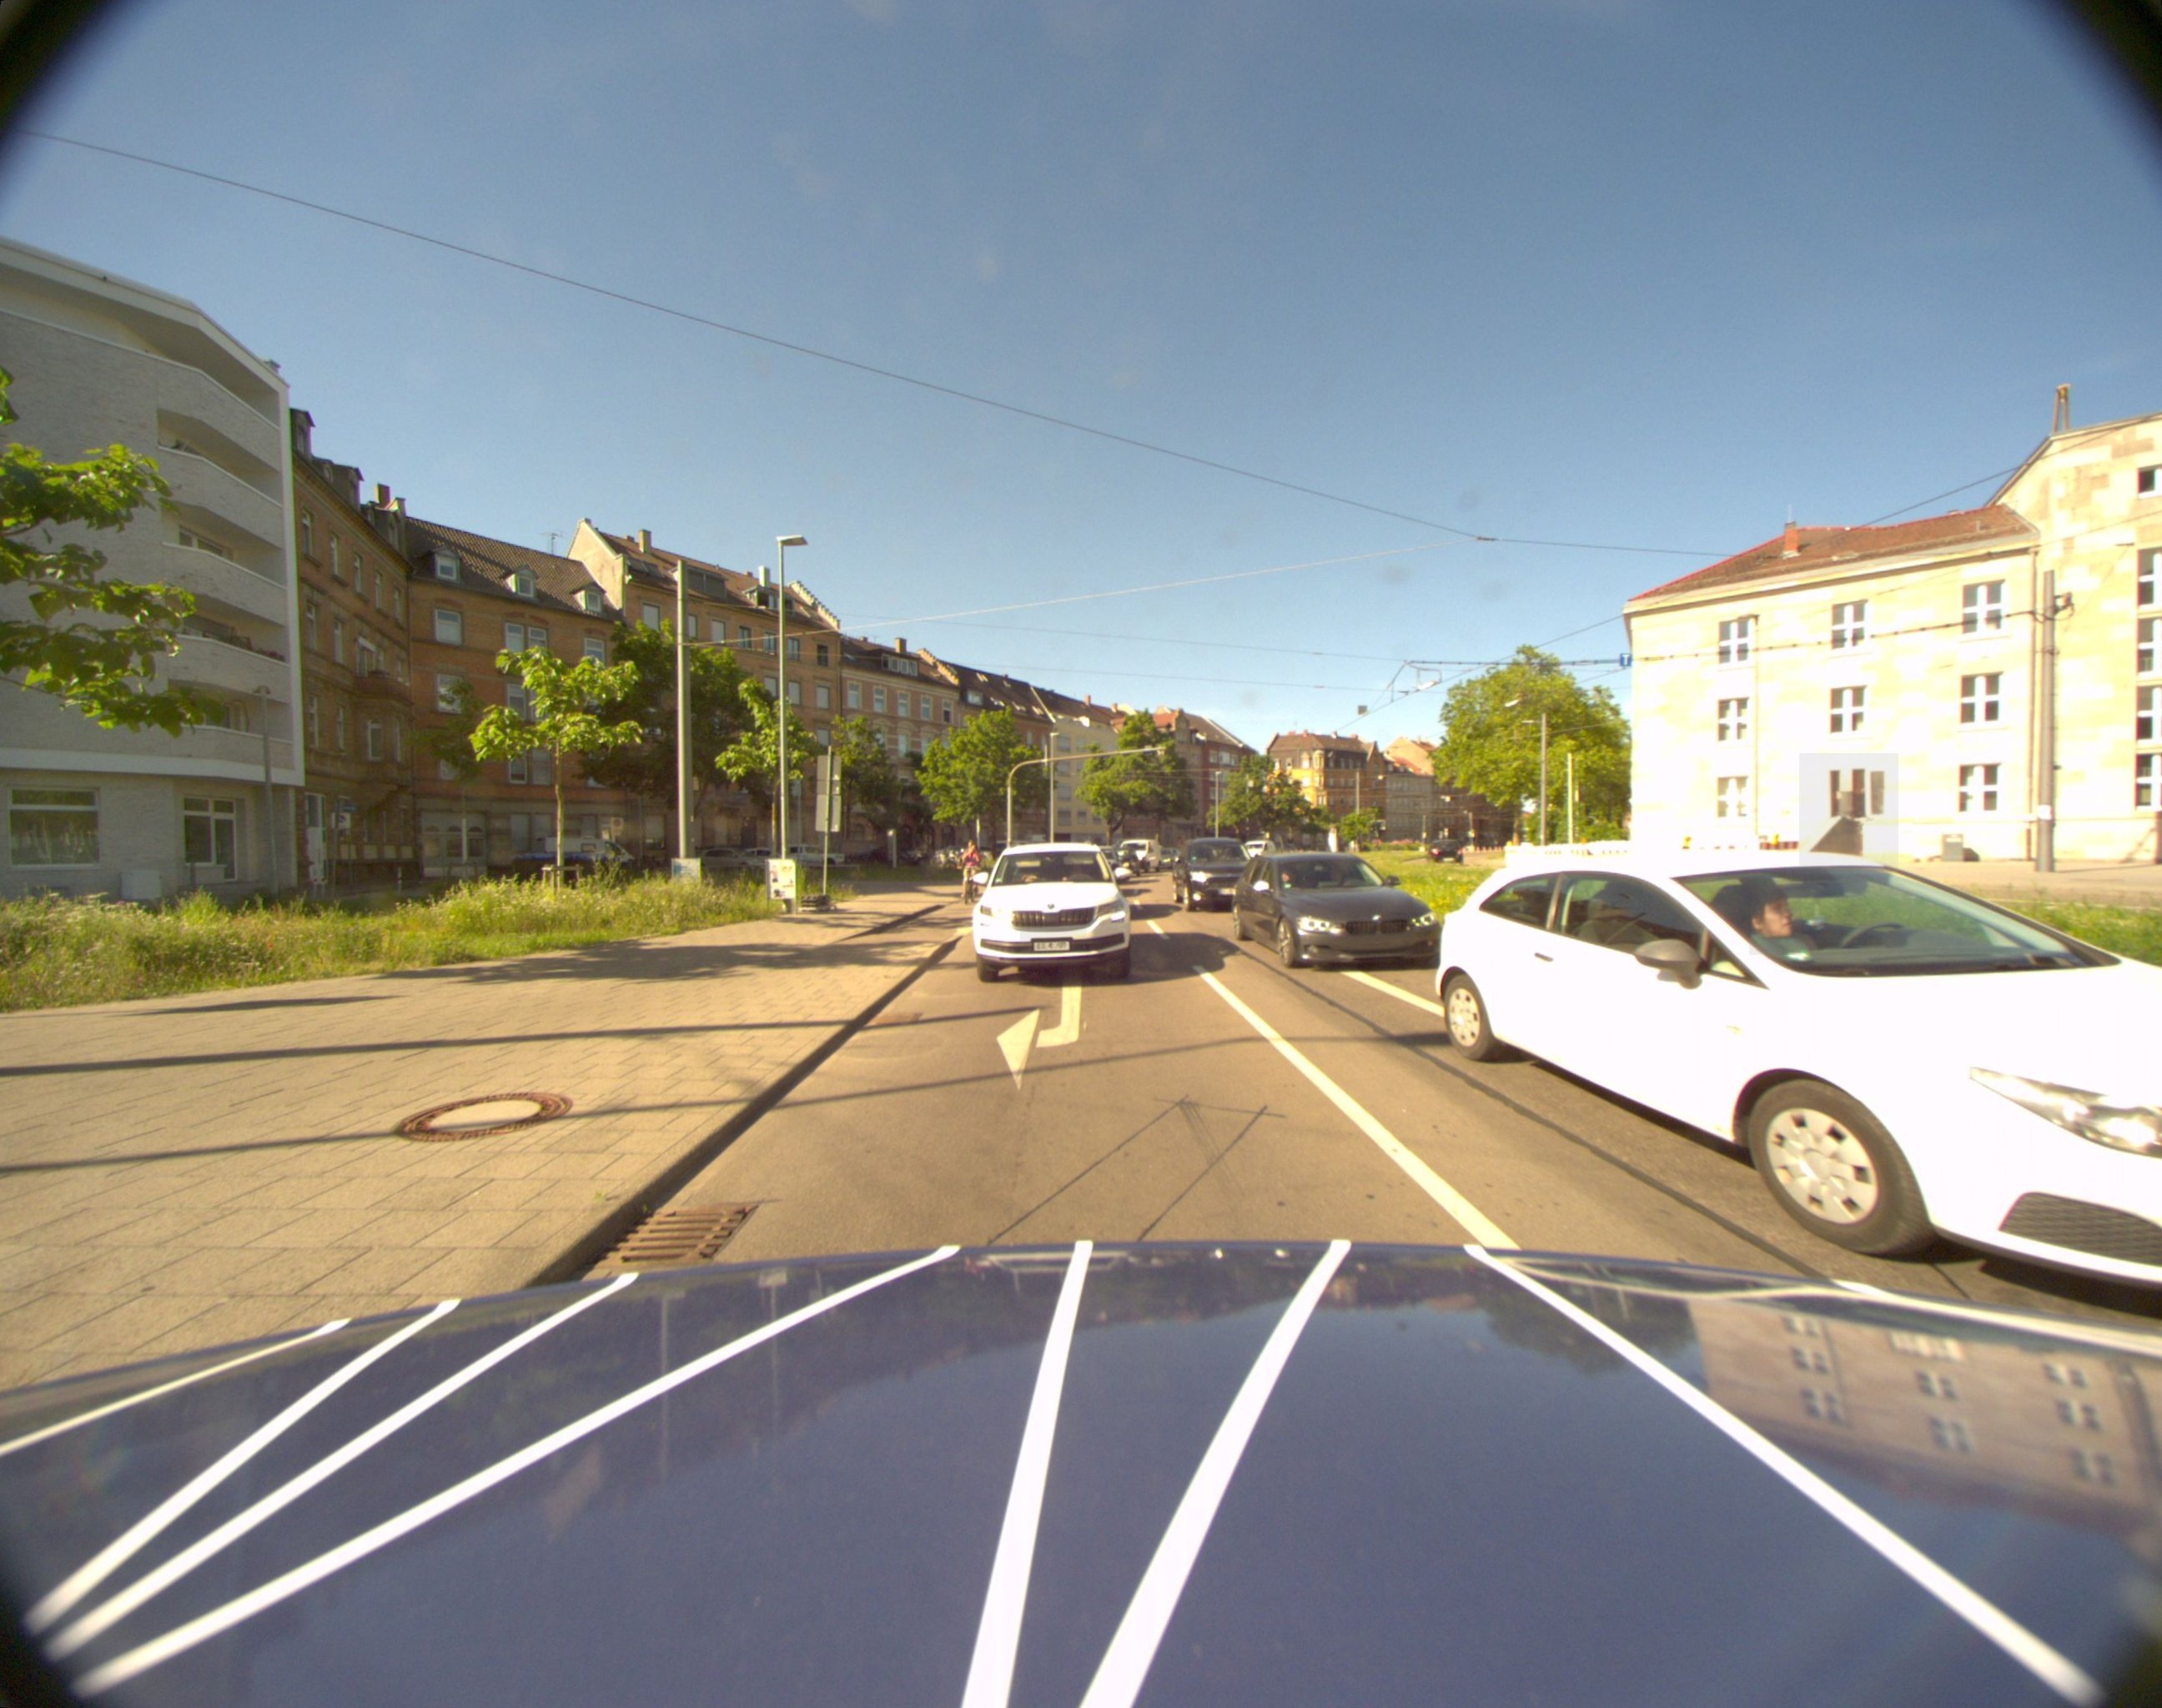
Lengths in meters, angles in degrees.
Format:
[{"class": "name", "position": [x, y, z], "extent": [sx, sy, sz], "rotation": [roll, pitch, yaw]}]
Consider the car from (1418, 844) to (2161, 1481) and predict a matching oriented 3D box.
[{"class": "car", "position": [3.380, 0.724, 3.694], "extent": [1.669, 1.422, 3.834], "rotation": [-4, 1, -1]}]

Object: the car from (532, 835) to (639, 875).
[{"class": "car", "position": [-28.128, 0.019, 43.285], "extent": [1.994, 2.100, 4.651], "rotation": [0, 1, 38]}]

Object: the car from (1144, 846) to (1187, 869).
[{"class": "car", "position": [5.824, 0.219, 51.759], "extent": [1.870, 1.439, 3.914], "rotation": [0, 1, 22]}]

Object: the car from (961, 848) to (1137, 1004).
[{"class": "car", "position": [-0.364, 0.759, 10.358], "extent": [1.874, 1.621, 4.337], "rotation": [-1, 1, -1]}]

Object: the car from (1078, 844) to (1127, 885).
[{"class": "car", "position": [0.893, 0.397, 31.532], "extent": [1.873, 1.547, 4.000], "rotation": [-1, 1, 2]}]

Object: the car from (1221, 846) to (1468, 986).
[{"class": "car", "position": [3.269, 0.655, 10.467], "extent": [1.840, 1.422, 4.483], "rotation": [-2, 1, 1]}]

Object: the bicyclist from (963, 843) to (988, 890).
[{"class": "bicyclist", "position": [-3.168, 0.372, 22.850], "extent": [0.696, 1.370, 0.737], "rotation": [1, 3, -4]}]

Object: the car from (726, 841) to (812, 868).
[{"class": "car", "position": [-17.811, 0.018, 43.501], "extent": [3.996, 1.456, 2.000], "rotation": [-1, 1, 1]}]

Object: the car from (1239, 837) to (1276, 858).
[{"class": "car", "position": [13.866, -0.551, 59.628], "extent": [1.870, 1.547, 4.007], "rotation": [0, 1, 28]}]

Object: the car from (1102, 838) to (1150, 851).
[{"class": "car", "position": [4.350, -0.914, 73.559], "extent": [4.393, 1.227, 2.001], "rotation": [-1, 1, 11]}]

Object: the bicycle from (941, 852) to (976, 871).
[{"class": "bicycle", "position": [-6.697, 0.395, 41.503], "extent": [1.764, 1.018, 0.567], "rotation": [-1, 1, -27]}]

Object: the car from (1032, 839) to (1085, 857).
[{"class": "car", "position": [-1.915, -0.511, 65.847], "extent": [4.397, 1.453, 2.000], "rotation": [-1, 1, 1]}]

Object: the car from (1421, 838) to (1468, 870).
[{"class": "car", "position": [20.597, -0.029, 43.239], "extent": [1.767, 1.740, 4.004], "rotation": [0, 1, 16]}]

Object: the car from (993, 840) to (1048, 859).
[{"class": "car", "position": [-5.049, -0.401, 63.883], "extent": [4.397, 1.498, 2.000], "rotation": [-1, 1, 1]}]

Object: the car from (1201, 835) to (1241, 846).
[{"class": "car", "position": [16.604, -1.593, 90.132], "extent": [4.397, 1.203, 2.000], "rotation": [-1, 1, 1]}]

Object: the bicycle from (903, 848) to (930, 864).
[{"class": "bicycle", "position": [-10.747, 0.124, 49.713], "extent": [1.757, 1.018, 0.453], "rotation": [0, 2, 24]}]

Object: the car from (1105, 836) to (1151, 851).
[{"class": "car", "position": [4.716, -1.066, 76.127], "extent": [4.393, 1.453, 2.001], "rotation": [-1, 1, 11]}]

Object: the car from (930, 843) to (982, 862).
[{"class": "car", "position": [-9.179, -0.120, 56.084], "extent": [3.462, 1.324, 1.732], "rotation": [-1, 1, 1]}]

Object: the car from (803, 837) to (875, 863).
[{"class": "car", "position": [-15.913, -0.285, 50.101], "extent": [3.996, 1.652, 2.000], "rotation": [-1, 1, 1]}]

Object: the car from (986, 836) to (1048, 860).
[{"class": "car", "position": [-5.081, -0.495, 60.993], "extent": [4.790, 1.761, 1.732], "rotation": [-1, 1, 1]}]

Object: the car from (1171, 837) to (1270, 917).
[{"class": "car", "position": [3.261, 0.464, 18.548], "extent": [1.768, 1.675, 4.327], "rotation": [-2, 1, 3]}]

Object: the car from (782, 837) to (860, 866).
[{"class": "car", "position": [-15.682, -0.151, 45.978], "extent": [3.996, 1.652, 2.000], "rotation": [-1, 1, 1]}]

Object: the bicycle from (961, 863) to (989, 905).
[{"class": "bicycle", "position": [-3.159, 0.877, 22.755], "extent": [0.696, 1.099, 2.010], "rotation": [1, 3, -4]}]

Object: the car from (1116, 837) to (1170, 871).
[{"class": "car", "position": [3.803, -0.025, 45.960], "extent": [1.870, 1.970, 4.661], "rotation": [0, 1, 22]}]

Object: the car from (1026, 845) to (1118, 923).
[{"class": "car", "position": [-0.208, 0.597, 17.640], "extent": [1.874, 1.547, 3.999], "rotation": [-1, 1, -1]}]

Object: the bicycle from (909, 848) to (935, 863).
[{"class": "bicycle", "position": [-10.576, 0.101, 50.602], "extent": [1.757, 1.018, 0.453], "rotation": [0, 2, 24]}]

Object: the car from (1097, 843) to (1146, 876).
[{"class": "car", "position": [2.181, 0.238, 39.684], "extent": [1.871, 1.605, 3.912], "rotation": [-1, 1, 14]}]
